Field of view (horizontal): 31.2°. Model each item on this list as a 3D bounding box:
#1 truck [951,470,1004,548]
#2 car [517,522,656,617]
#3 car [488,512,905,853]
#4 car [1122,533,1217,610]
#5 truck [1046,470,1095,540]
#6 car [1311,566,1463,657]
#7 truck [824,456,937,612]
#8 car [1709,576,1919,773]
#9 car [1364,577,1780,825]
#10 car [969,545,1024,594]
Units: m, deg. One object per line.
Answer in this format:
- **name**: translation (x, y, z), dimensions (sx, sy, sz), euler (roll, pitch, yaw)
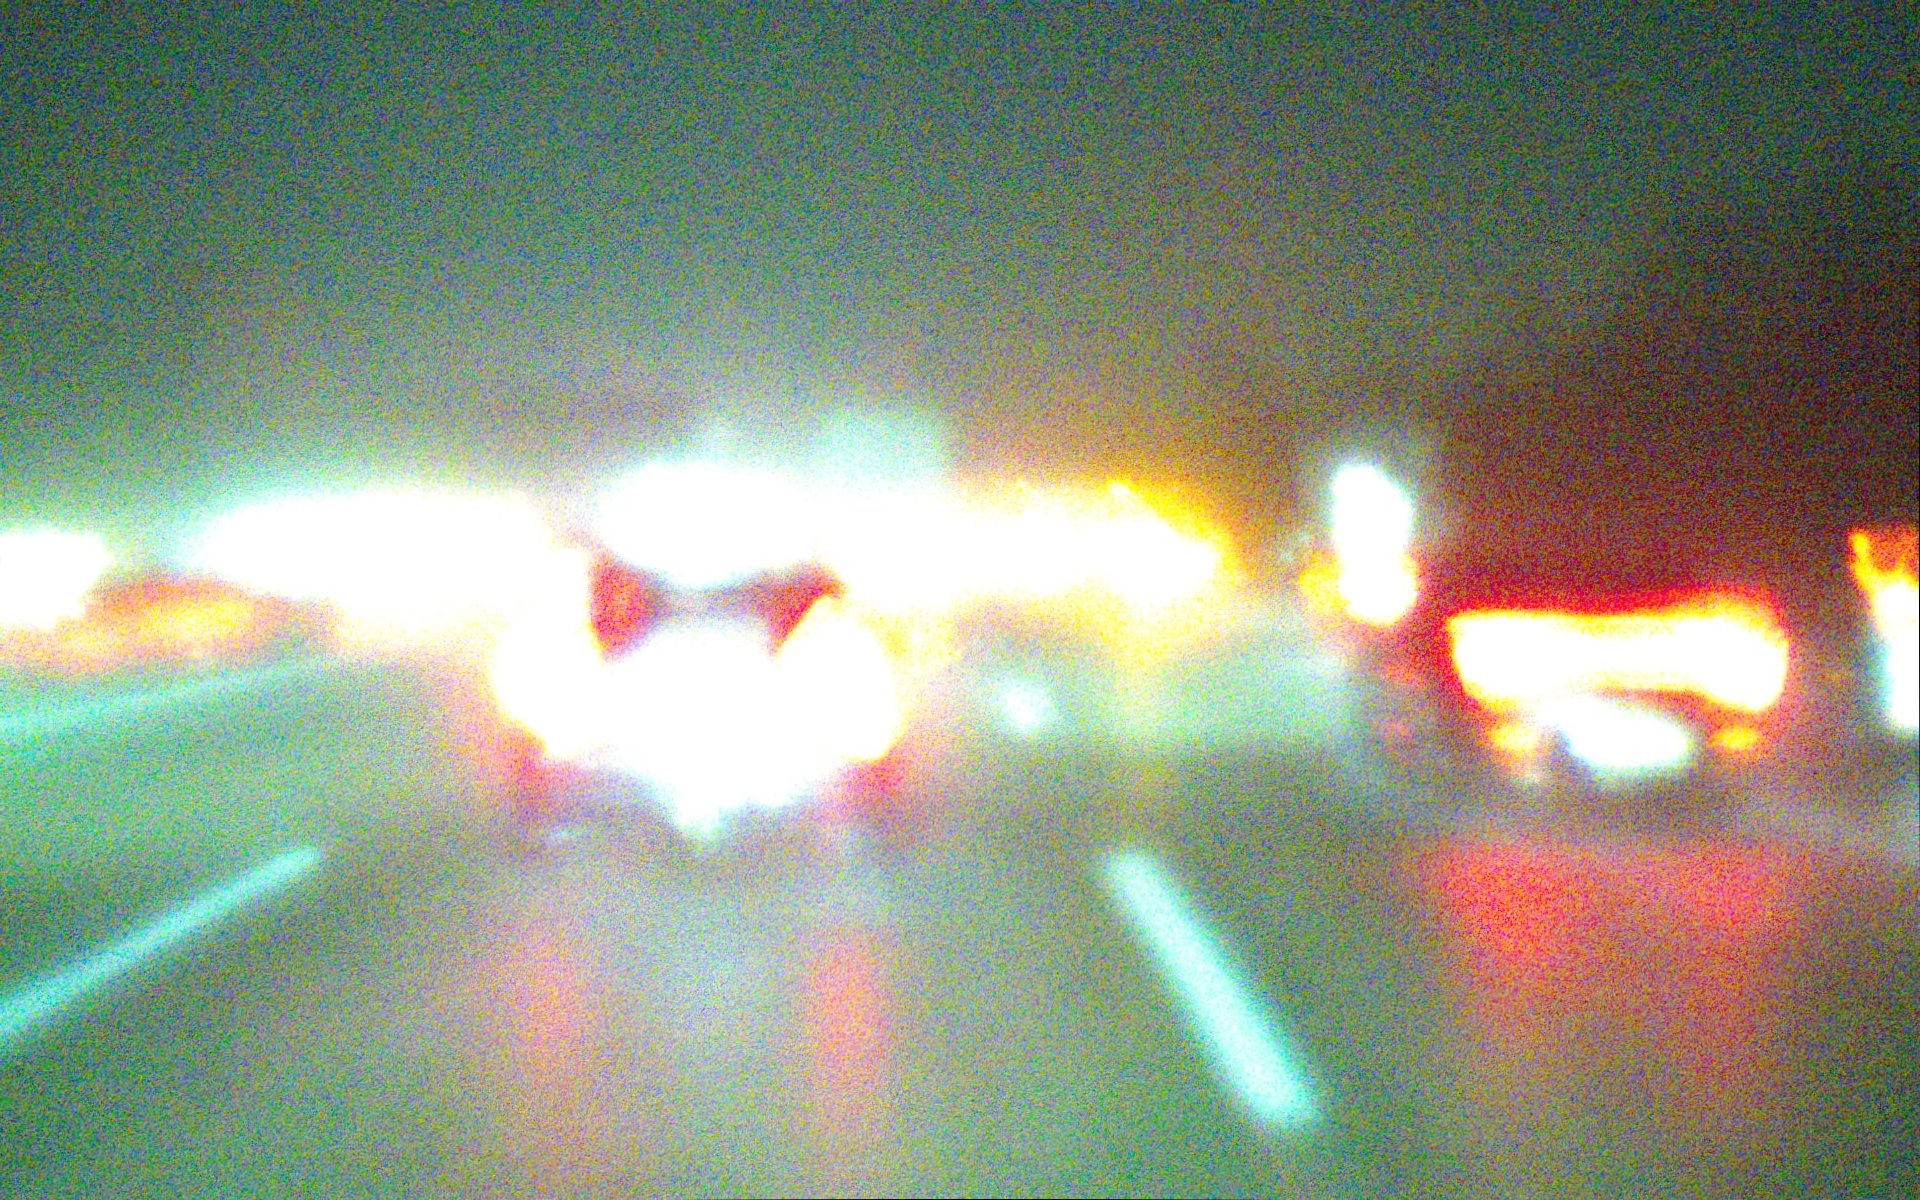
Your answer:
- **truck**: translation (0.753, -3.726, 142.212), dimensions (1.993, 3.032, 6.465), euler (-3, 1, 1)
- **car**: translation (-5.270, -0.437, 48.908), dimensions (1.662, 1.232, 3.762), euler (-3, 1, -2)
- **car**: translation (-1.186, 0.318, 17.068), dimensions (1.802, 1.482, 4.000), euler (1, 1, -1)
- **car**: translation (4.558, -0.652, 75.173), dimensions (1.863, 1.612, 4.000), euler (1, 1, 1)
- **truck**: translation (5.035, -4.304, 157.111), dimensions (1.993, 3.032, 6.465), euler (-3, 1, 1)
- **car**: translation (6.182, 0.144, 50.025), dimensions (1.580, 1.242, 3.069), euler (1, 1, -5)
- **truck**: translation (-1.622, -1.361, 72.007), dimensions (1.993, 3.032, 6.465), euler (-3, 1, 1)
- **car**: translation (6.467, 0.483, 23.992), dimensions (1.580, 1.242, 3.069), euler (1, 1, -5)
- **car**: translation (3.376, 0.518, 19.471), dimensions (1.580, 1.242, 3.069), euler (1, 1, -5)
- **car**: translation (1.256, -1.048, 117.923), dimensions (1.863, 1.612, 4.000), euler (1, 1, 1)
